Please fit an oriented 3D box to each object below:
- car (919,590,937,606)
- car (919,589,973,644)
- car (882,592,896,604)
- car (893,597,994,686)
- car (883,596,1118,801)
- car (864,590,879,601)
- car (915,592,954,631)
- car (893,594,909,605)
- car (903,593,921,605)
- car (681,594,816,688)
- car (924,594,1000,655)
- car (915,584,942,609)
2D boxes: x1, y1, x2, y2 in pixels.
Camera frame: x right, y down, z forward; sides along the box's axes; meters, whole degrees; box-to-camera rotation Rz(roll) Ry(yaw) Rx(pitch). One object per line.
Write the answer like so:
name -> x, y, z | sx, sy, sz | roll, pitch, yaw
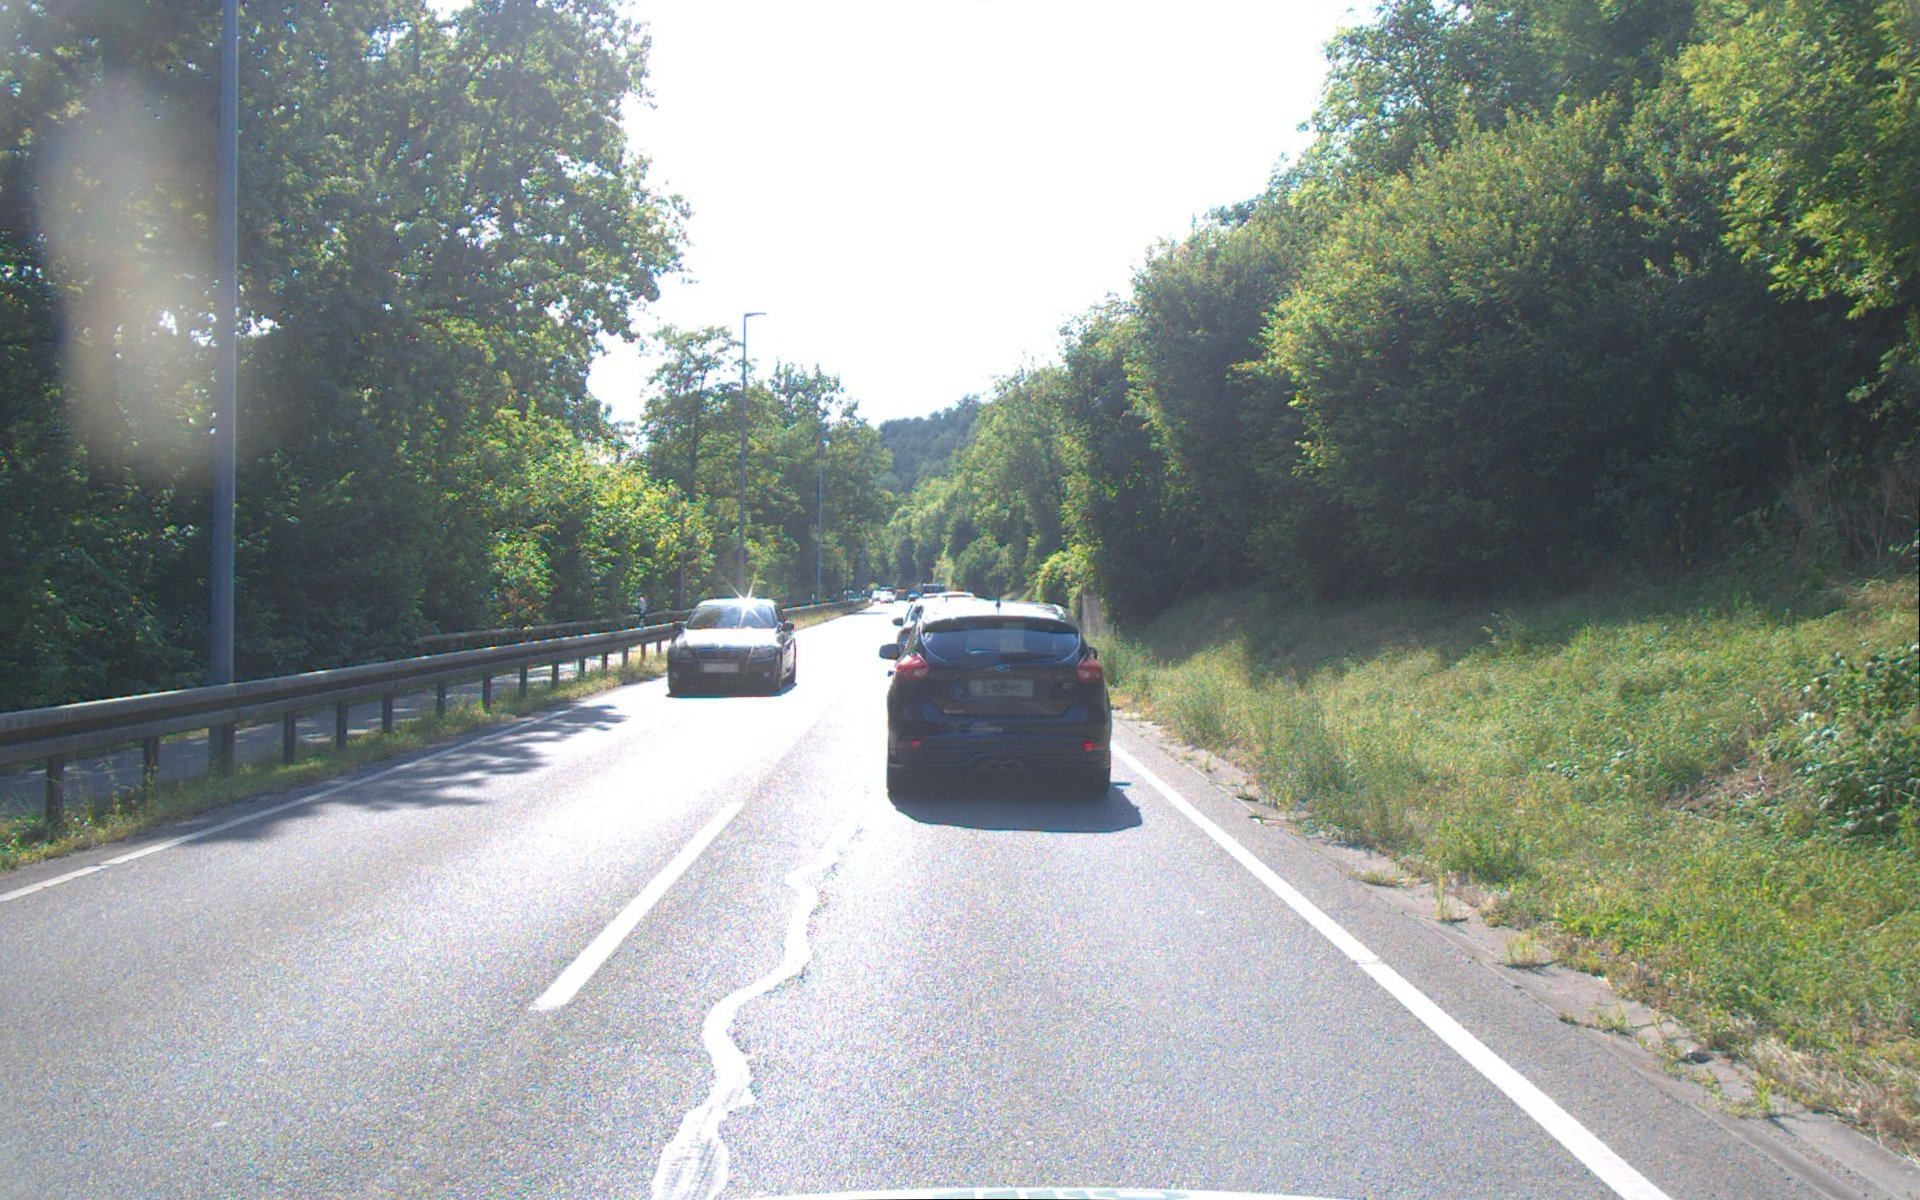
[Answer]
car -> -3.135, -0.167, 162.133 | 1.782, 1.545, 3.999 | 0, 0, -1
car -> -0.436, 0.486, 50.957 | 1.597, 1.624, 3.999 | 0, 0, -1
car -> -8.406, -0.248, 195.878 | 1.590, 1.401, 4.046 | -2, 0, -1
car -> -0.250, 0.671, 28.835 | 1.627, 1.443, 4.000 | 0, 0, 0
car -> 0.269, 0.715, 14.032 | 1.704, 1.482, 3.999 | 0, 0, -1
car -> -12.462, -0.668, 233.738 | 1.651, 1.489, 4.188 | 0, 0, -9
car -> -1.096, 0.457, 71.160 | 1.597, 1.624, 3.999 | 0, 0, -1
car -> -8.463, -0.107, 236.574 | 1.956, 1.545, 3.993 | 0, 0, -8
car -> -6.296, -0.131, 215.640 | 1.956, 1.545, 3.993 | 0, 0, -8
car -> -3.482, 0.638, 27.891 | 1.657, 1.445, 4.142 | 0, 0, 1
car -> 0.023, 0.571, 40.568 | 1.768, 1.416, 3.999 | 0, 0, -1
car -> -2.316, -0.284, 120.450 | 1.826, 1.812, 3.997 | 0, 0, -4
